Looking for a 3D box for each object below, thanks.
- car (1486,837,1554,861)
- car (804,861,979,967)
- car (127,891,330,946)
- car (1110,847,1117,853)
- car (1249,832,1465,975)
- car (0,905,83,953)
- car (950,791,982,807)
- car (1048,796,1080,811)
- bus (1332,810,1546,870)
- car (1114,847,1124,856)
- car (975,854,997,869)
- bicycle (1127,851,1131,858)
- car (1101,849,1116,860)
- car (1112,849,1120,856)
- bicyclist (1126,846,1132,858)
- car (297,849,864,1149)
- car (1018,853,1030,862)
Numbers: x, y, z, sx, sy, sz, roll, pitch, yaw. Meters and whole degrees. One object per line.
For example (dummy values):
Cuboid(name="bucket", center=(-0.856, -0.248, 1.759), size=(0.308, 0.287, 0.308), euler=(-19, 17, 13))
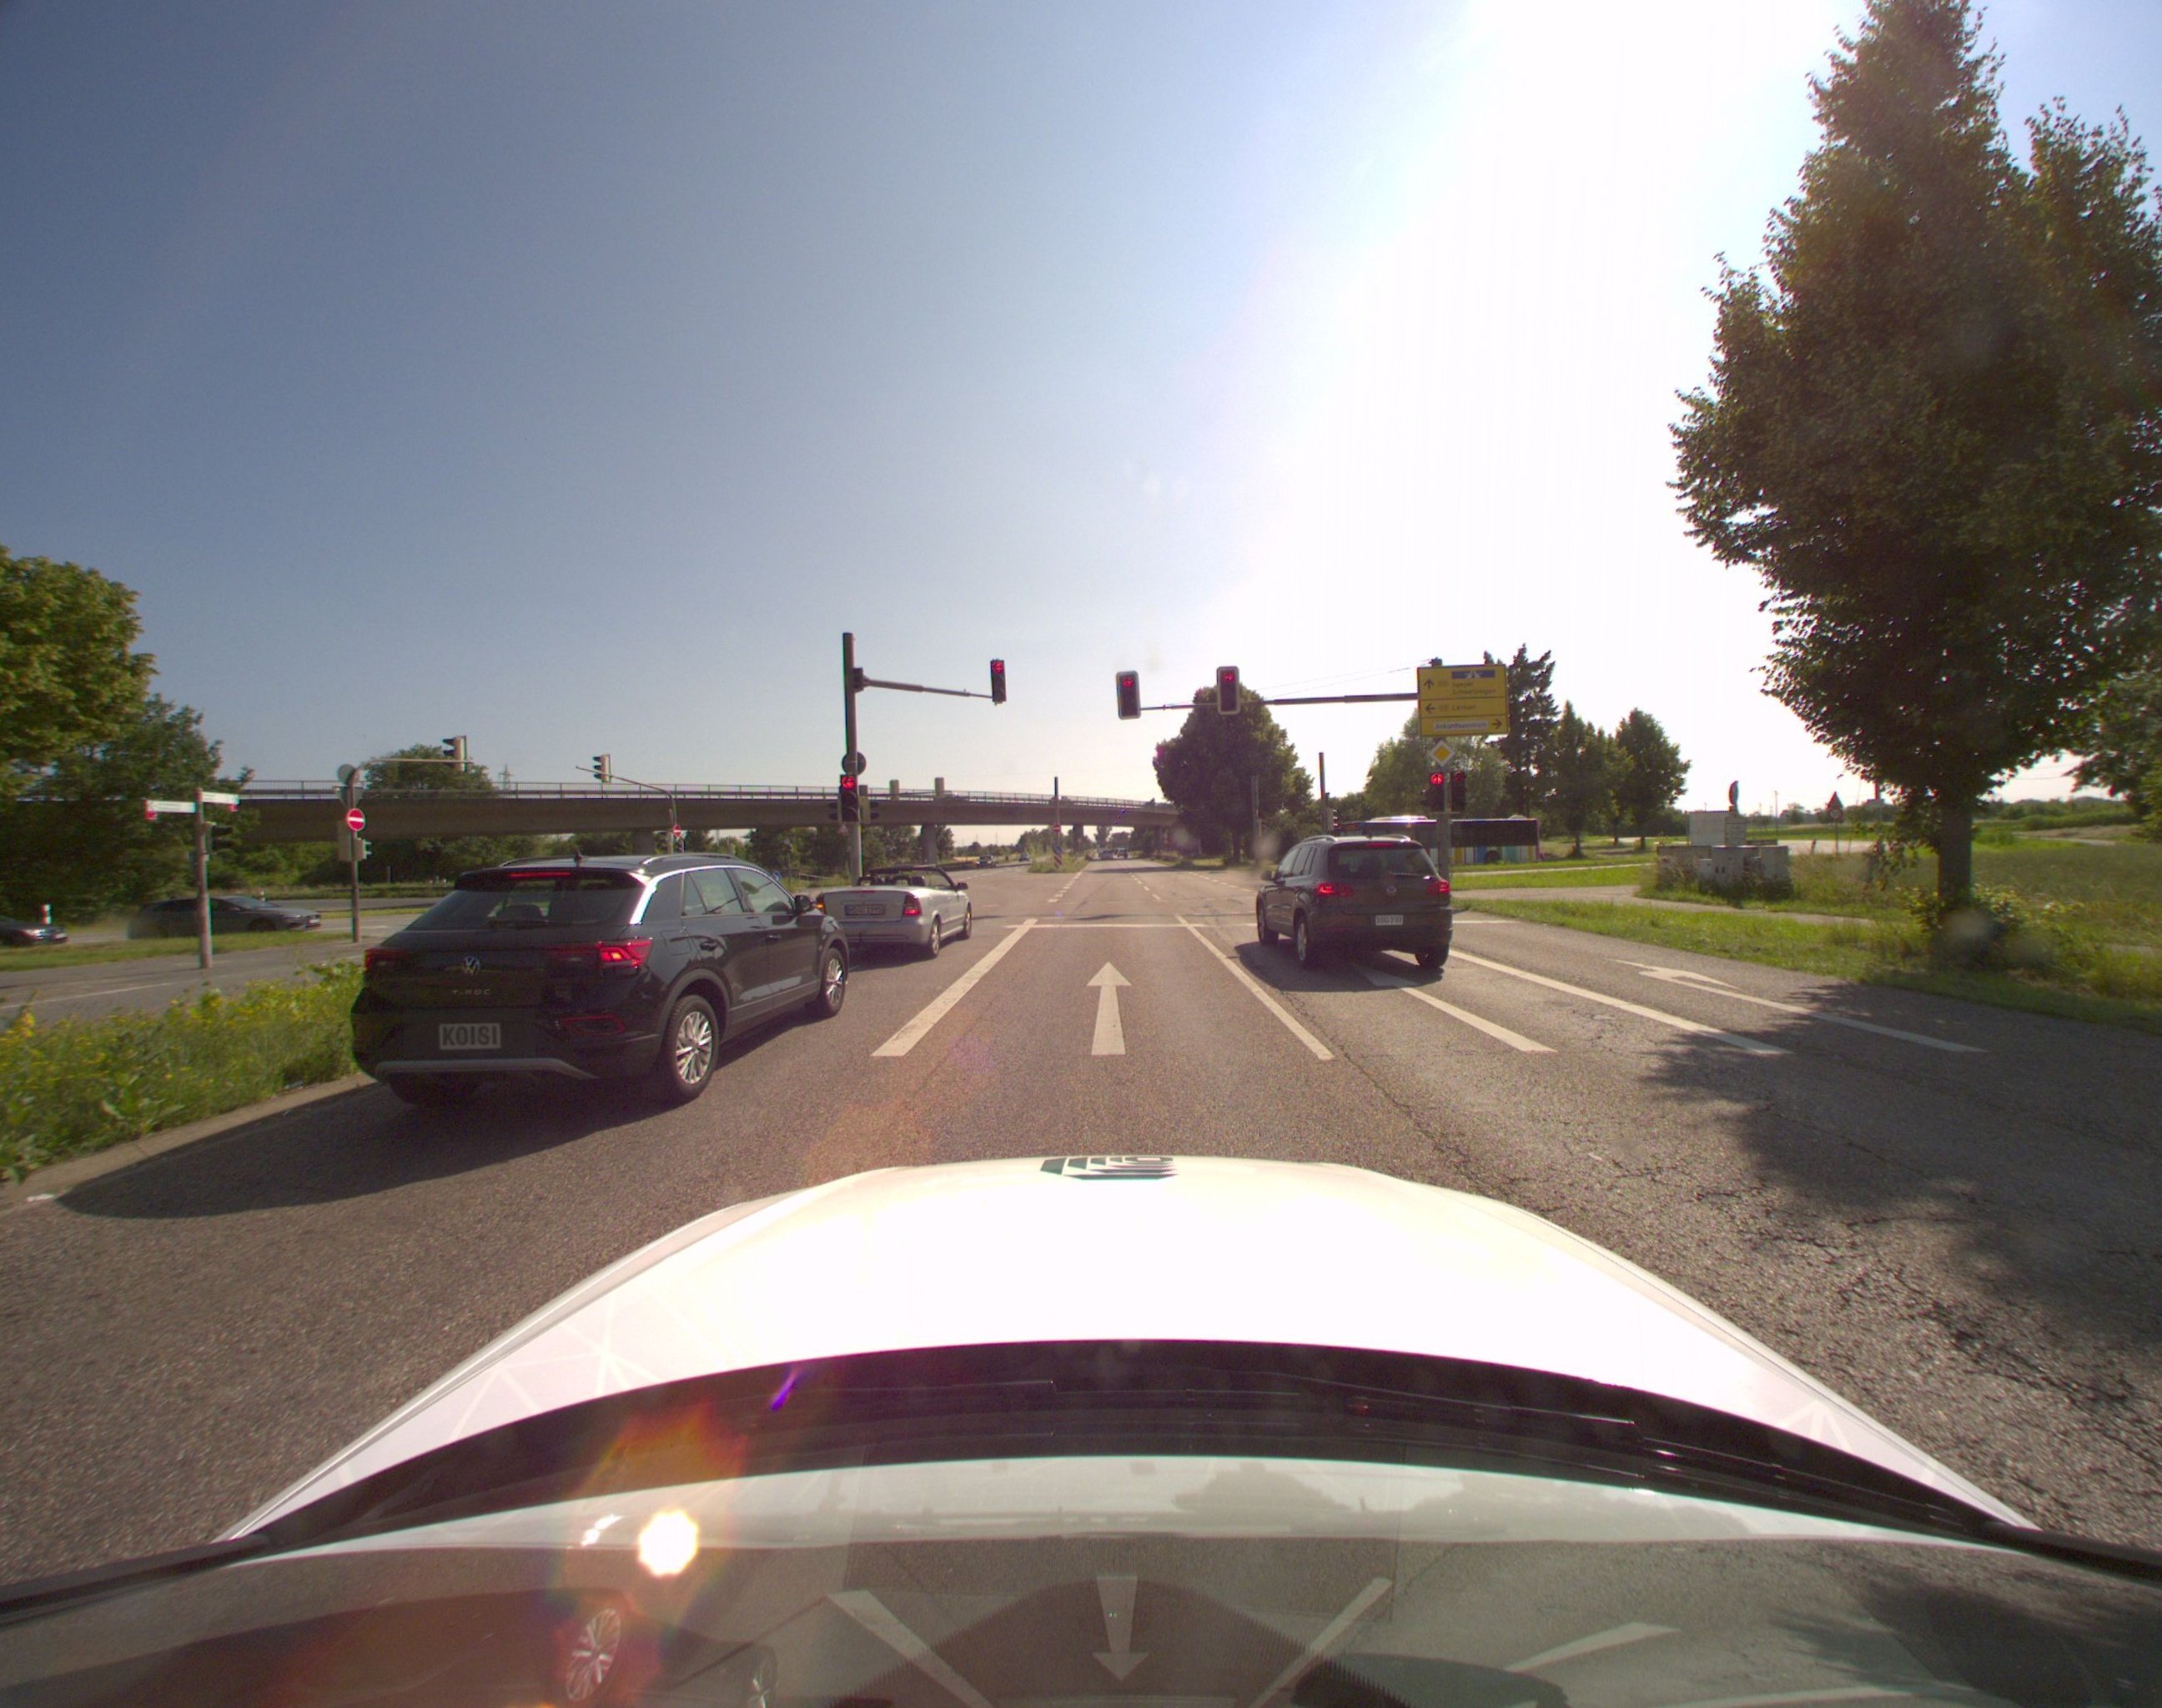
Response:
Cuboid(name="car", center=(28.491, -0.340, 52.873), size=(4.000, 1.398, 1.670), euler=(-3, 1, -20))
Cuboid(name="car", center=(-2.826, 0.826, 13.091), size=(1.667, 1.335, 4.100), euler=(-1, 0, 2))
Cuboid(name="car", center=(-27.656, 2.053, 26.595), size=(4.125, 1.424, 1.859), euler=(-3, 0, -18))
Cuboid(name="car", center=(10.080, -1.204, 251.799), size=(1.986, 1.655, 4.002), euler=(0, -1, 2))
Cuboid(name="car", center=(3.634, 0.565, 11.533), size=(1.749, 1.655, 4.147), euler=(0, 0, 1))
Cuboid(name="car", center=(-33.009, 2.324, 23.886), size=(4.364, 1.280, 1.636), euler=(-3, 0, -27))
Cuboid(name="car", center=(-11.849, -5.664, 84.135), size=(1.306, 1.486, 3.218), euler=(-2, 0, 37))
Cuboid(name="car", center=(-2.077, -6.136, 99.423), size=(1.974, 1.486, 4.025), euler=(0, -1, 32))
Cuboid(name="bus", center=(20.795, -0.829, 47.303), size=(11.953, 2.877, 2.929), euler=(-3, 0, -14))
Cuboid(name="car", center=(7.353, -0.461, 157.715), size=(1.866, 1.640, 4.003), euler=(0, 0, 3))
Cuboid(name="car", center=(-10.994, 0.815, 94.218), size=(1.876, 1.515, 4.148), euler=(-5, 0, 1))
Cuboid(name="bicycle", center=(7.854, 0.063, 133.000), size=(0.598, 0.983, 2.362), euler=(-2, 0, 2))
Cuboid(name="car", center=(3.785, 0.000, 111.184), size=(1.843, 1.461, 4.003), euler=(0, 0, 3))
Cuboid(name="car", center=(8.274, -0.380, 193.088), size=(1.986, 1.631, 4.001), euler=(0, -1, 2))
Cuboid(name="bicyclist", center=(7.814, -0.375, 133.239), size=(1.003, 1.886, 1.328), euler=(-2, 0, 3))
Cuboid(name="car", center=(-3.198, 0.756, 6.353), size=(1.722, 1.547, 4.100), euler=(-1, 0, 2))
Cuboid(name="car", center=(-9.702, 0.633, 139.221), size=(1.608, 1.442, 3.778), euler=(-4, 0, 2))
